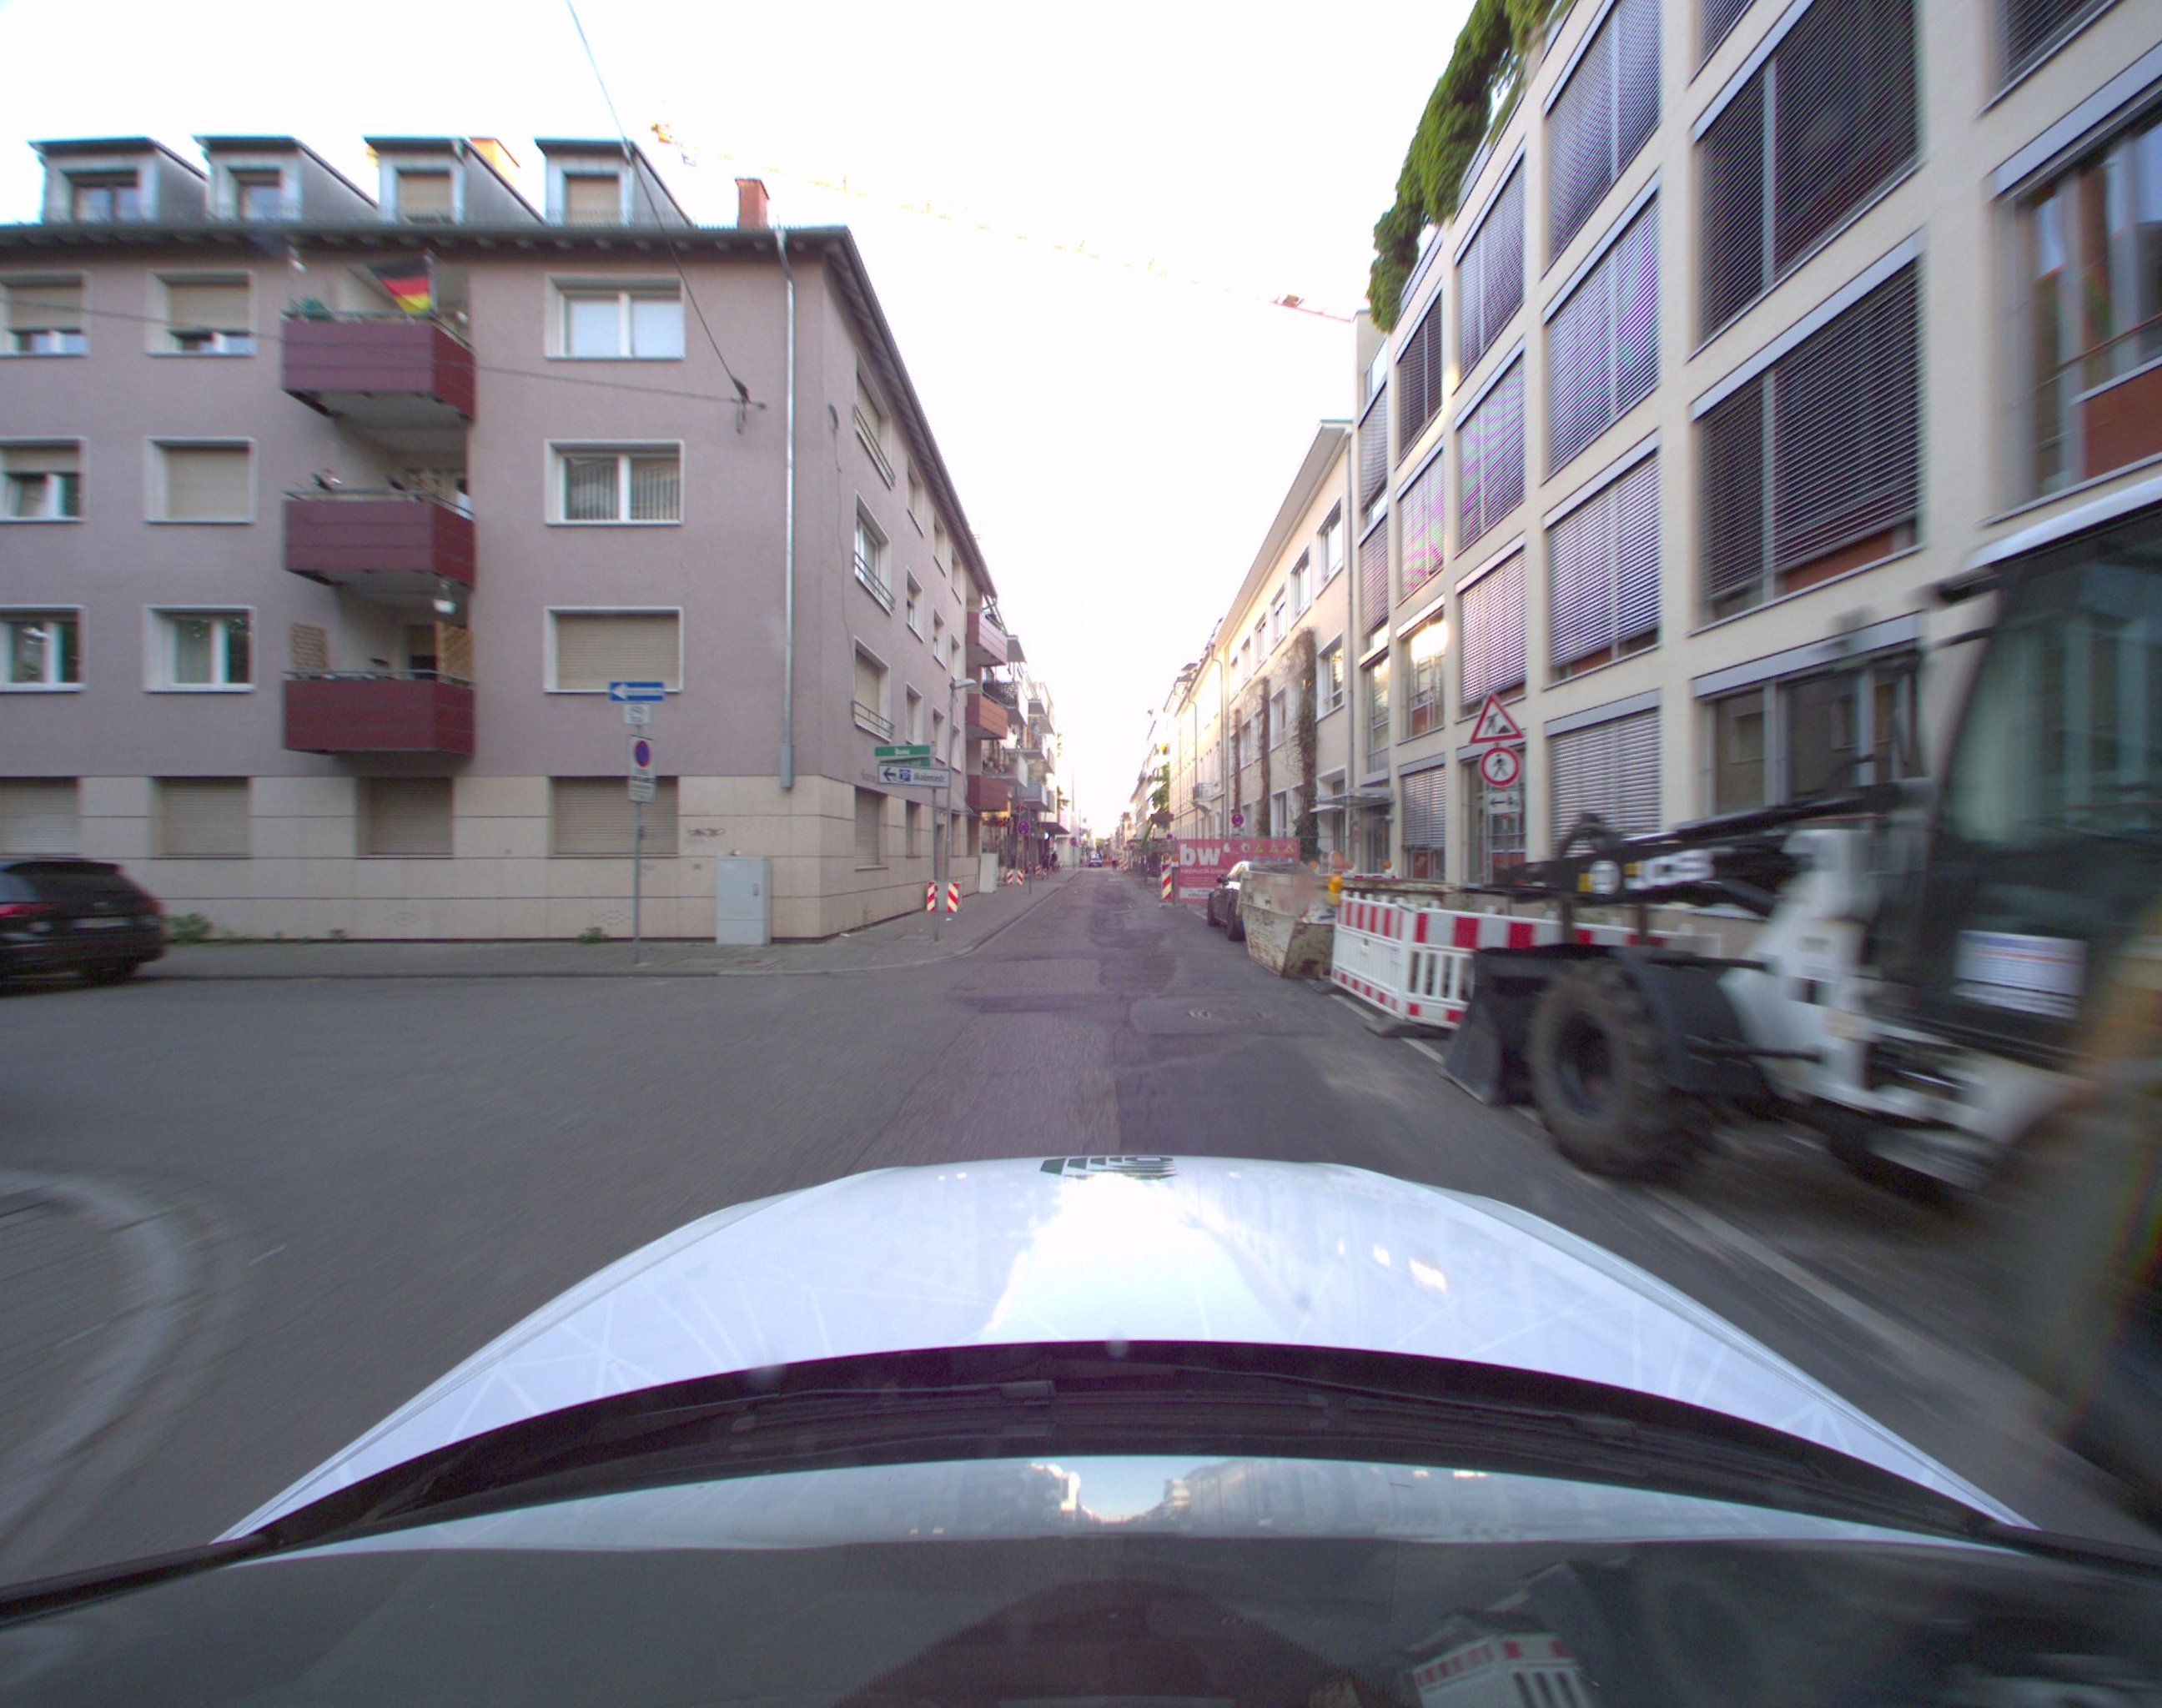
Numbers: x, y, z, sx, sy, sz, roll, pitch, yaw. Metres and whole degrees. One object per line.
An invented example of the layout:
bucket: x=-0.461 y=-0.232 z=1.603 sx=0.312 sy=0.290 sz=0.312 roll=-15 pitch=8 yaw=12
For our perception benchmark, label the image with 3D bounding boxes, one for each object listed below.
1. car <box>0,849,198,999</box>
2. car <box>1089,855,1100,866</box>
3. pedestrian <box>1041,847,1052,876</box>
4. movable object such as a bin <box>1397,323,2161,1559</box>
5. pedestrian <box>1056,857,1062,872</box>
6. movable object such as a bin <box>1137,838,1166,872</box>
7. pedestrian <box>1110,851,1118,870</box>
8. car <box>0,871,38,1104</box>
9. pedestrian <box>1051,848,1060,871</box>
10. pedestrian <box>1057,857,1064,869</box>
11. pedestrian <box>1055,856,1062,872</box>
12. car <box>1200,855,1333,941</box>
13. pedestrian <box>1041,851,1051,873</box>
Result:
car: x=-13.640 y=0.829 z=9.868 sx=3.821 sy=1.656 sz=1.795 roll=-1 pitch=-2 yaw=-1
car: x=1.778 y=0.838 z=108.499 sx=1.469 sy=1.398 sz=3.333 roll=0 pitch=0 yaw=1
pedestrian: x=-2.186 y=0.449 z=51.095 sx=0.626 sy=1.808 sz=0.648 roll=0 pitch=0 yaw=3
movable object such as a bin: x=3.389 y=0.182 z=3.339 sx=2.158 sy=2.596 sz=5.544 roll=0 pitch=0 yaw=1
pedestrian: x=-2.048 y=0.941 z=76.232 sx=0.540 sy=1.387 sz=0.625 roll=0 pitch=0 yaw=2
movable object such as a bin: x=6.582 y=0.037 z=76.962 sx=2.461 sy=3.130 sz=4.299 roll=1 pitch=1 yaw=1
pedestrian: x=3.160 y=0.597 z=77.461 sx=0.718 sy=1.740 sz=0.647 roll=0 pitch=0 yaw=-1
car: x=-8.947 y=0.860 z=4.417 sx=4.331 sy=1.458 sz=1.686 roll=-1 pitch=0 yaw=-1
pedestrian: x=-2.101 y=0.437 z=68.097 sx=0.650 sy=1.886 sz=0.576 roll=0 pitch=0 yaw=11
pedestrian: x=-1.965 y=0.834 z=79.327 sx=0.616 sy=1.172 sz=0.787 roll=0 pitch=0 yaw=0
pedestrian: x=-2.092 y=0.920 z=75.110 sx=0.556 sy=1.391 sz=0.893 roll=-1 pitch=0 yaw=1
car: x=3.438 y=0.734 z=15.890 sx=1.687 sy=1.406 sz=4.481 roll=1 pitch=0 yaw=2
pedestrian: x=-2.522 y=0.544 z=58.421 sx=0.646 sy=1.565 sz=0.628 roll=0 pitch=-1 yaw=-14
